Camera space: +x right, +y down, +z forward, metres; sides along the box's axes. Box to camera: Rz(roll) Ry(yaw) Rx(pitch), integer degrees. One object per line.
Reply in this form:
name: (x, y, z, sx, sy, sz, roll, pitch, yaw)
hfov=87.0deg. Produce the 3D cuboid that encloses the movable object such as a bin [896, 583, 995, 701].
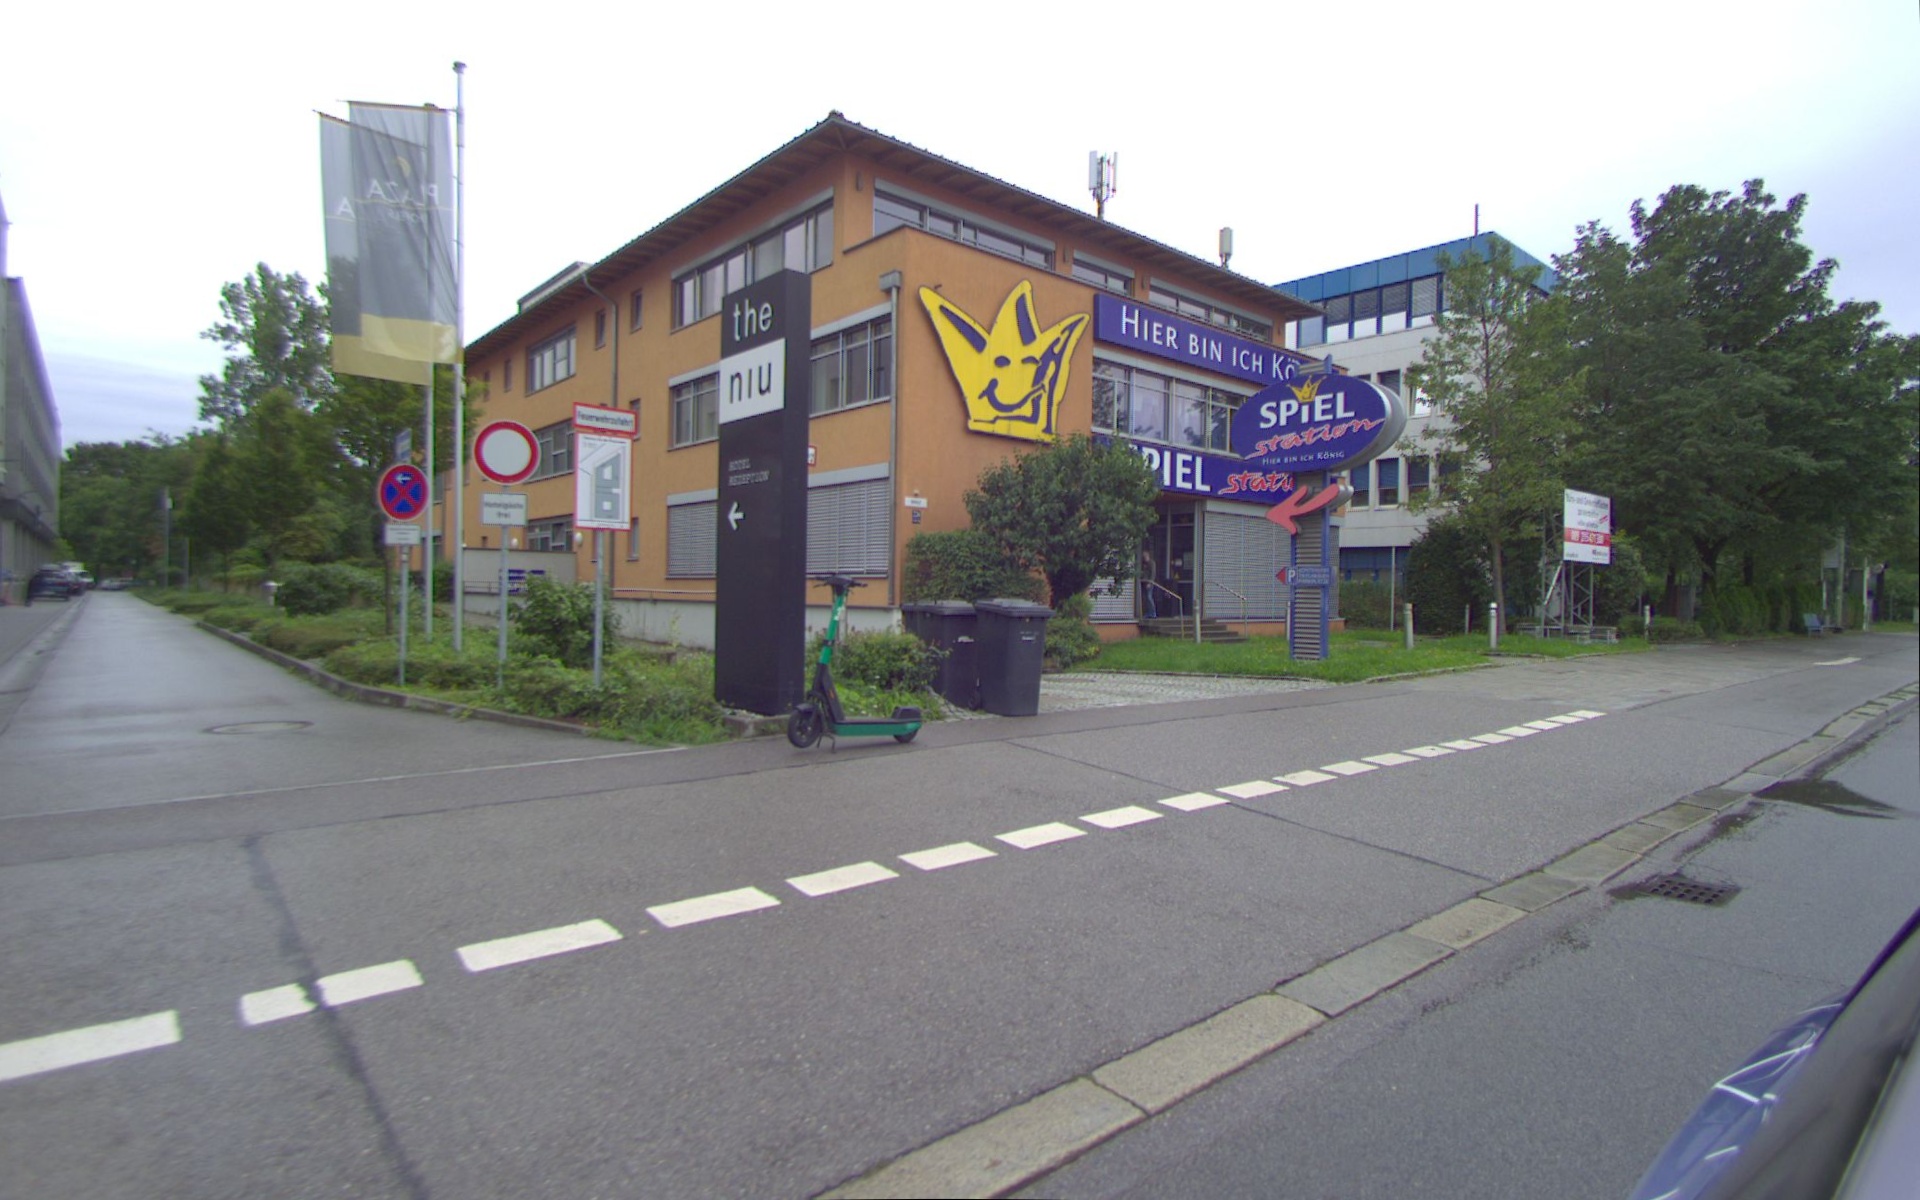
movable object such as a bin: (-0.149, 0.392, 10.039, 0.644, 1.091, 0.738, 1, 2, -40)

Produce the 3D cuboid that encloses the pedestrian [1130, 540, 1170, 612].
pedestrian: (4.635, -0.596, 24.728, 0.648, 1.733, 0.662, 1, 1, -40)

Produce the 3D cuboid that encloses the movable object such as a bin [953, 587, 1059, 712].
movable object such as a bin: (0.431, 0.439, 9.515, 0.644, 1.091, 0.738, 1, 2, -40)

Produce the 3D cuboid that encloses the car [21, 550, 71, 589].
car: (-50.985, -1.725, 56.504, 1.965, 2.038, 3.995, 1, 2, -41)

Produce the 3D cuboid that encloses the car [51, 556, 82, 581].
car: (-76.692, -2.693, 86.901, 1.965, 2.038, 3.995, 1, 2, -41)

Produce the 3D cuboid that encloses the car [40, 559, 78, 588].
car: (-65.416, -1.934, 73.502, 1.965, 2.038, 3.995, 1, 2, -41)

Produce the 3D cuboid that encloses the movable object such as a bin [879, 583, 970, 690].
movable object such as a bin: (-0.391, 0.377, 11.030, 0.644, 1.091, 0.738, 1, 2, -40)

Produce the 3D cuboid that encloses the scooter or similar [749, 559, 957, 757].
scooter or similar: (-0.771, 0.388, 7.480, 1.379, 1.292, 0.587, 0, 5, -41)
